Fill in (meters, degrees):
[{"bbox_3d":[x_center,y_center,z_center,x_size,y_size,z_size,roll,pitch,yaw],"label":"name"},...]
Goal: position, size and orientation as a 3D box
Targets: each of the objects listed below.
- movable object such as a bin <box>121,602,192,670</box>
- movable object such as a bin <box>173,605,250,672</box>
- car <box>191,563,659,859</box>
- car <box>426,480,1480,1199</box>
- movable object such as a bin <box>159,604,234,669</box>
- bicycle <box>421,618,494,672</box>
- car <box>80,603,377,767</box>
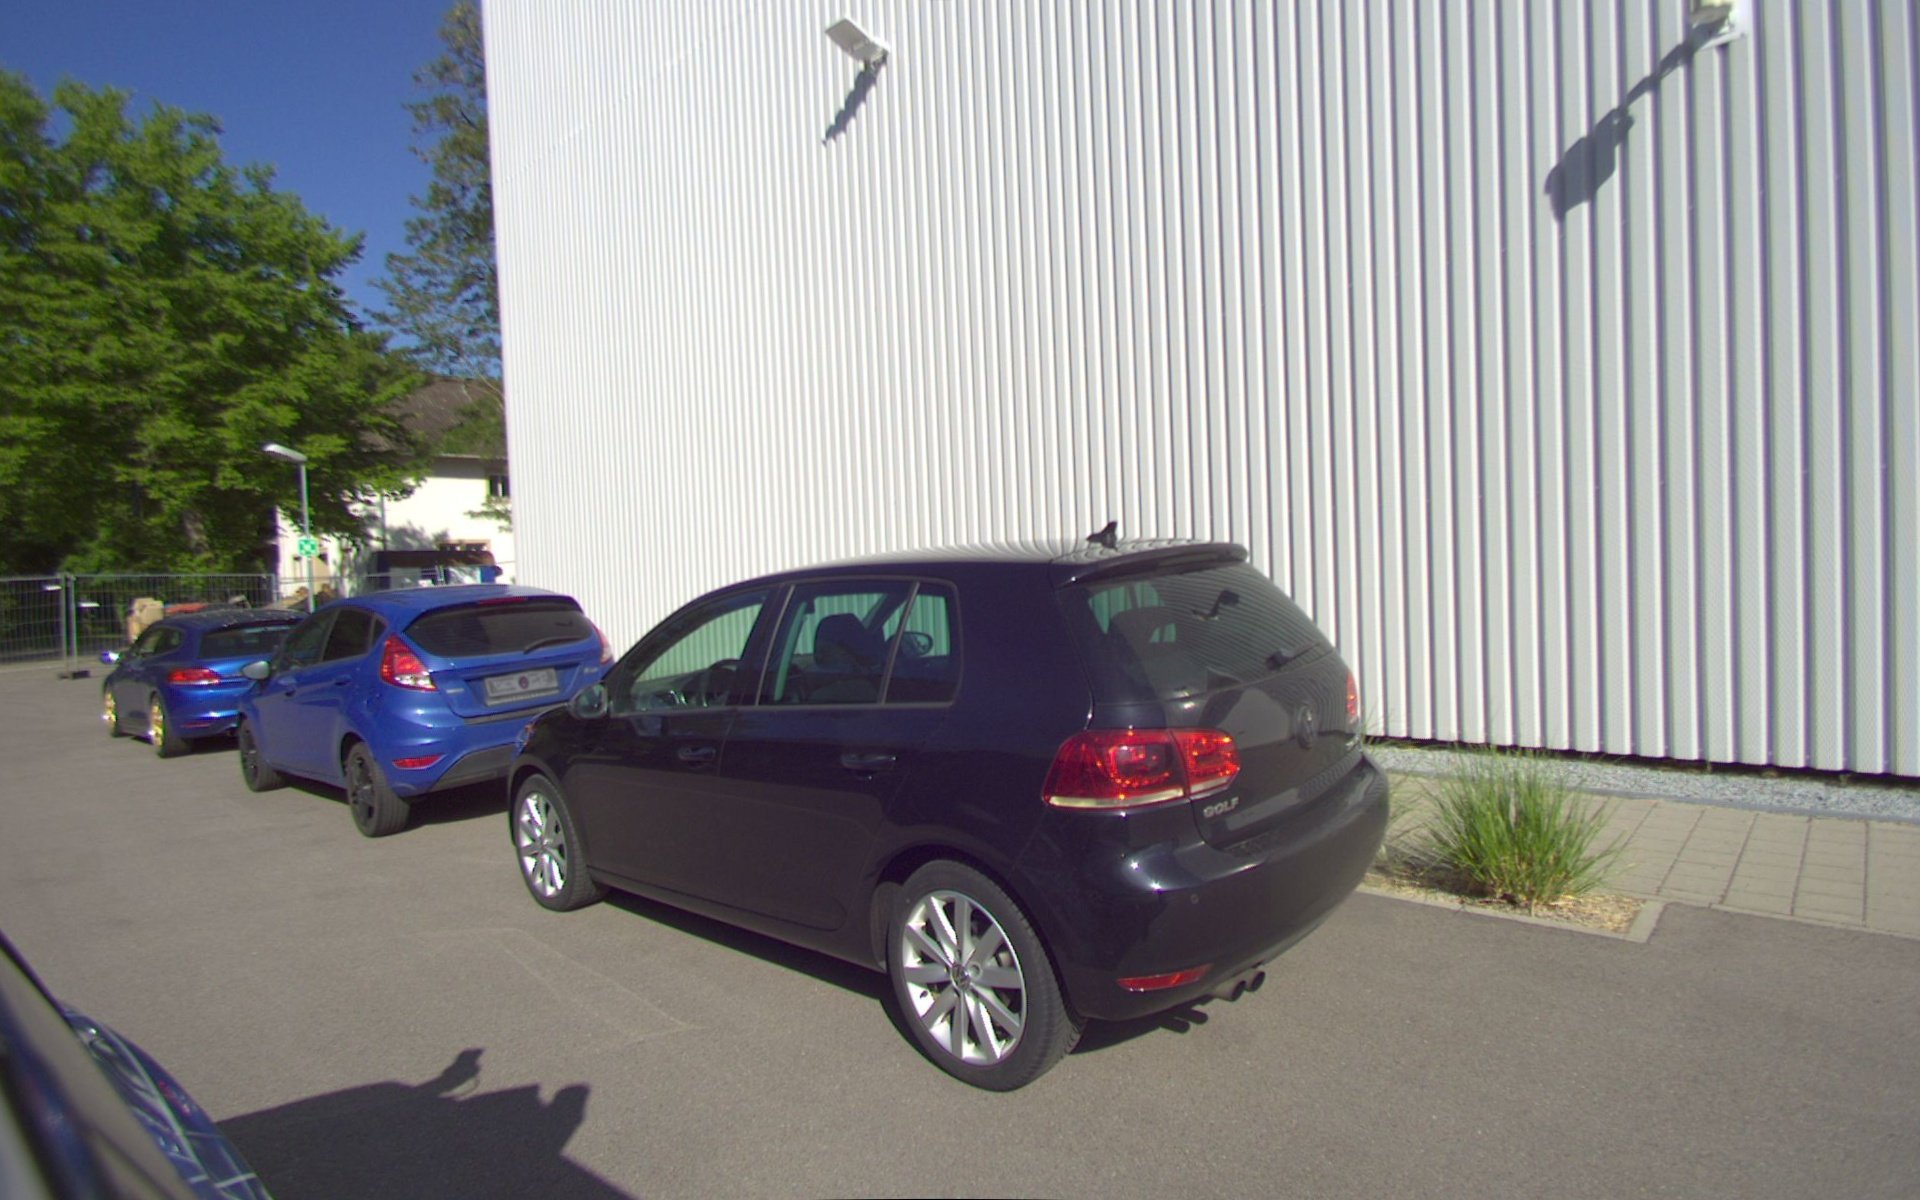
[{"bbox_3d":[-20.303,0.876,25.580,1.229,1.609,1.080,1,3,37],"label":"movable object such as a bin"},{"bbox_3d":[-17.581,0.885,23.773,1.229,1.443,1.080,-1,3,37],"label":"movable object such as a bin"},{"bbox_3d":[-4.107,0.627,7.451,4.093,1.511,1.614,-2,4,42],"label":"car"},{"bbox_3d":[-0.445,0.483,4.205,4.294,1.511,1.736,-2,3,43],"label":"car"},{"bbox_3d":[-18.590,0.878,24.645,1.229,1.450,1.080,-1,3,37],"label":"movable object such as a bin"},{"bbox_3d":[-9.994,0.892,20.108,1.832,0.994,0.476,-2,2,37],"label":"bicycle"},{"bbox_3d":[-8.123,0.808,11.100,4.052,1.370,1.756,-2,2,42],"label":"car"}]
